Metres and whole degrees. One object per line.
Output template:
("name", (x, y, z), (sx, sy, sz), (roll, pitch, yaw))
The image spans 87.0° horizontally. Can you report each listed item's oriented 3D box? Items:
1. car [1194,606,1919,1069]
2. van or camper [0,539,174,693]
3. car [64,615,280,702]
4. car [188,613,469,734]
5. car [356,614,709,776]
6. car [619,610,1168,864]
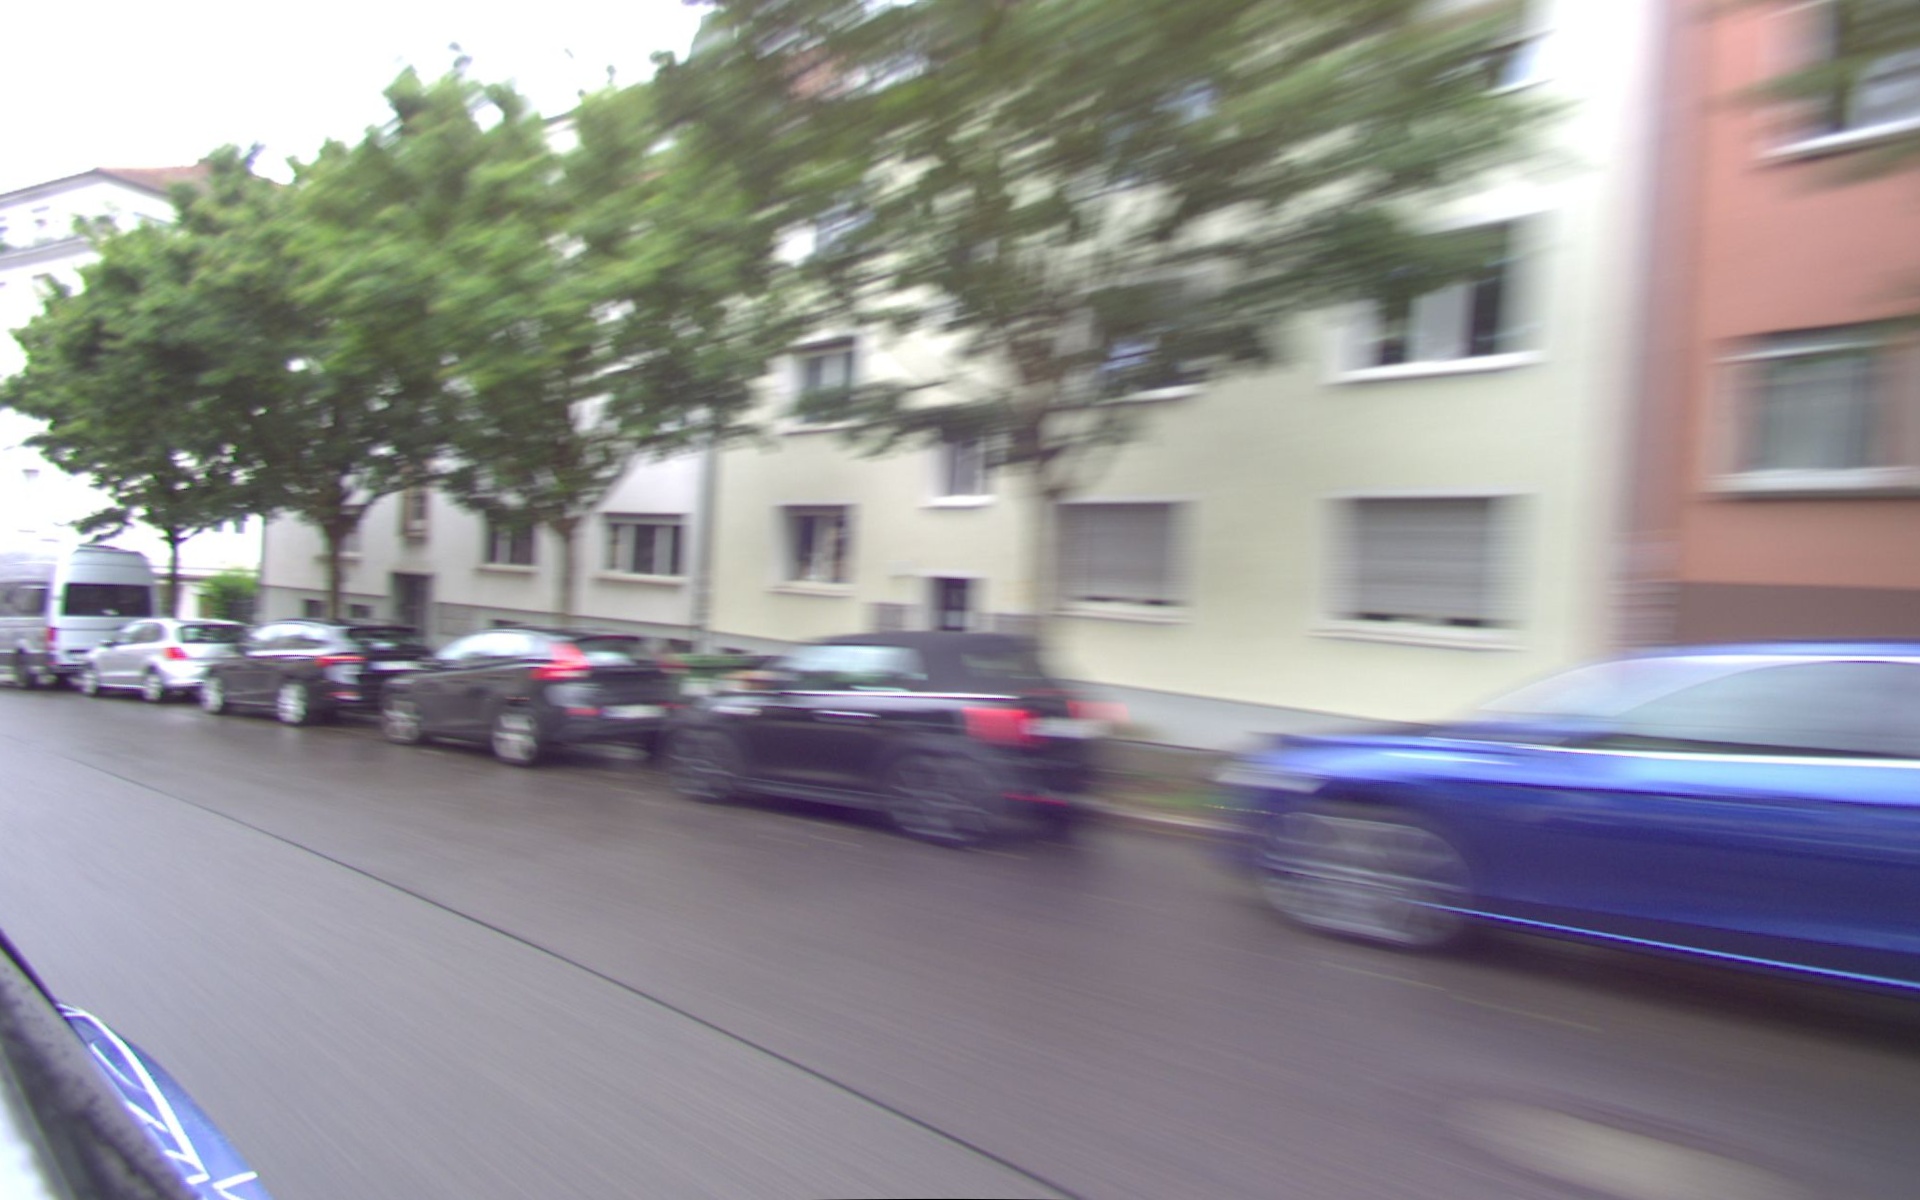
("car", (3.548, 0.799, 4.125), (4.863, 1.504, 1.767), (-1, -2, 44))
("van or camper", (-19.061, 0.365, 21.165), (5.724, 2.881, 2.053), (-1, -3, 30))
("car", (-14.172, 0.995, 18.163), (4.029, 1.420, 1.576), (-1, -2, 29))
("car", (-9.195, 0.976, 14.621), (4.487, 1.504, 1.772), (-1, -3, 35))
("car", (-5.004, 0.914, 11.533), (4.640, 1.504, 1.769), (-1, -1, 40))
("car", (-0.712, 0.866, 8.090), (4.357, 1.504, 1.769), (-1, -2, 39))
